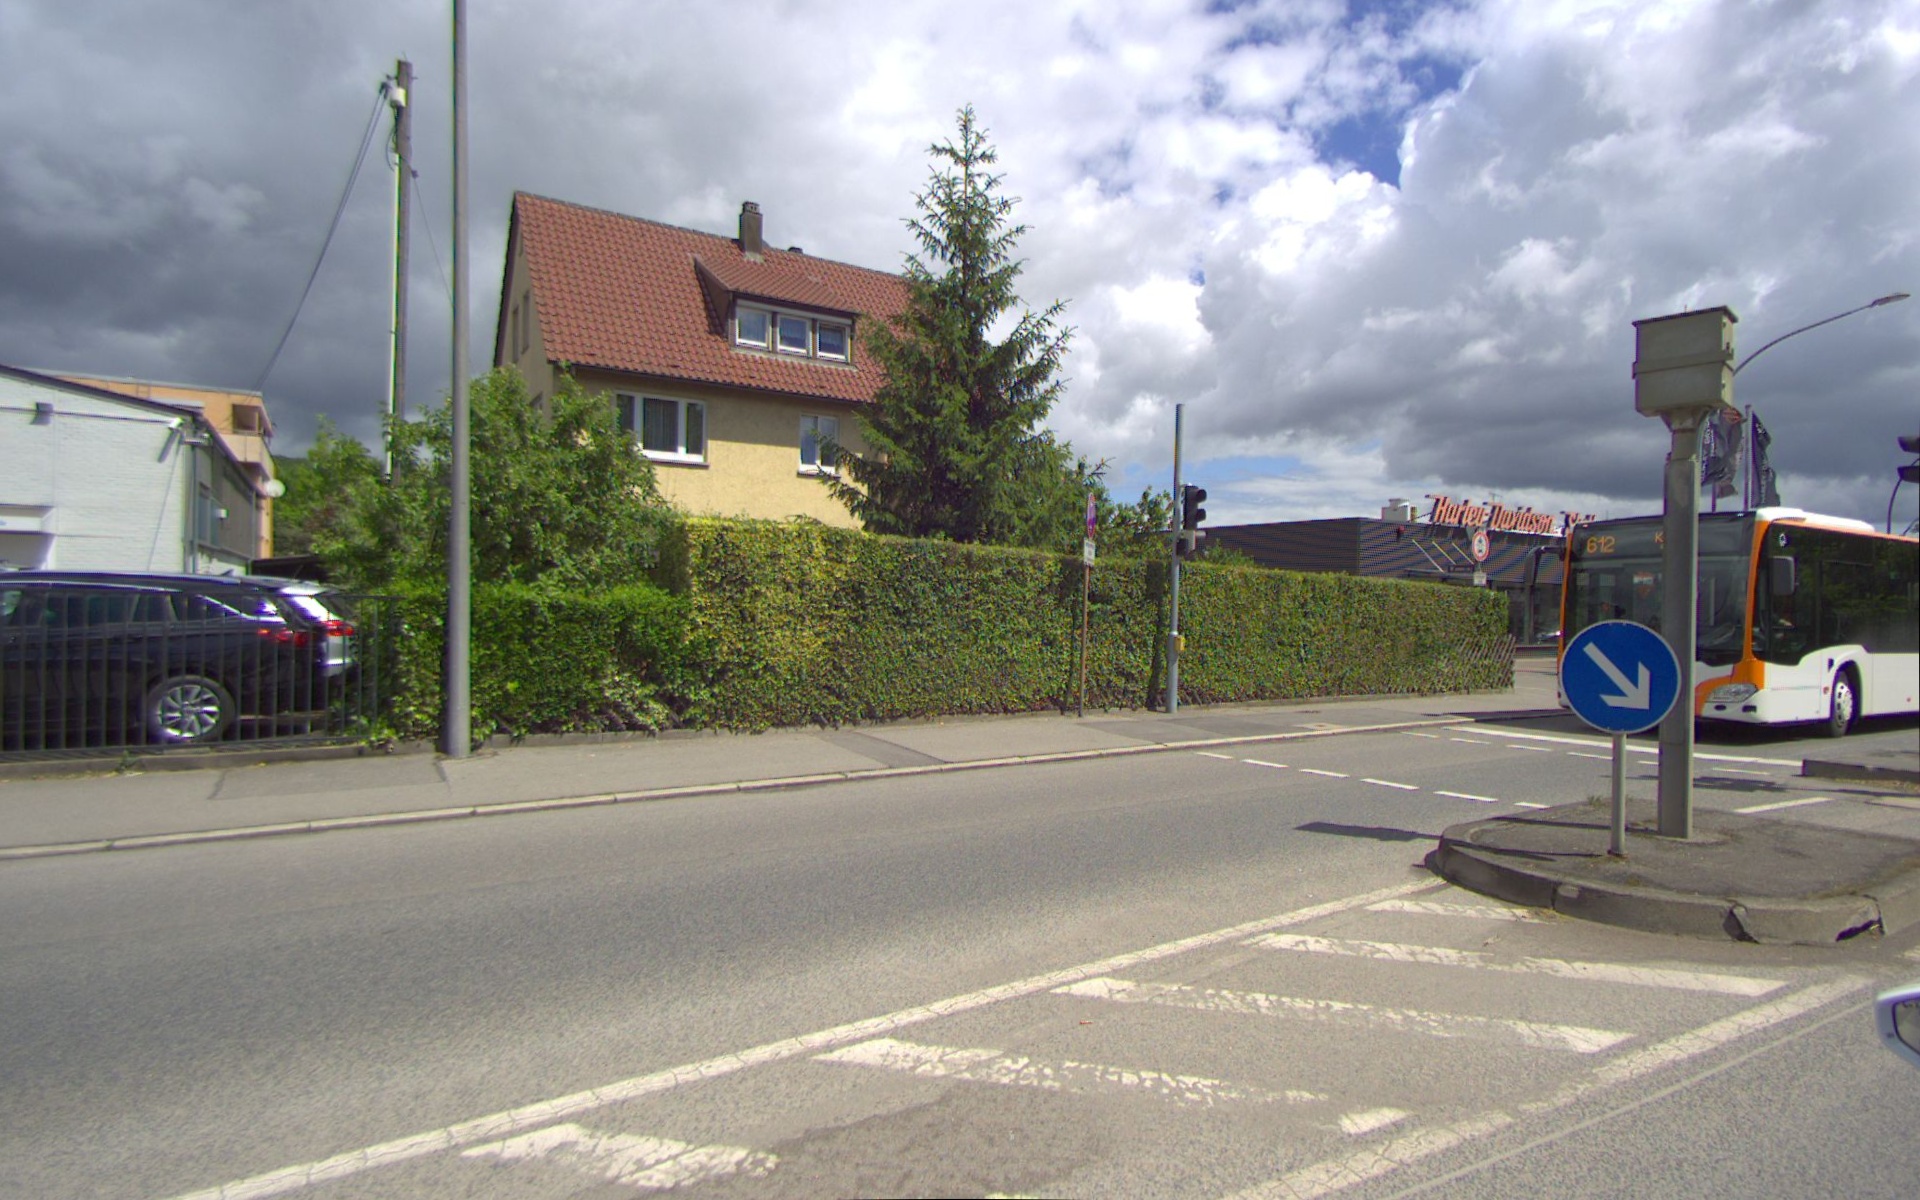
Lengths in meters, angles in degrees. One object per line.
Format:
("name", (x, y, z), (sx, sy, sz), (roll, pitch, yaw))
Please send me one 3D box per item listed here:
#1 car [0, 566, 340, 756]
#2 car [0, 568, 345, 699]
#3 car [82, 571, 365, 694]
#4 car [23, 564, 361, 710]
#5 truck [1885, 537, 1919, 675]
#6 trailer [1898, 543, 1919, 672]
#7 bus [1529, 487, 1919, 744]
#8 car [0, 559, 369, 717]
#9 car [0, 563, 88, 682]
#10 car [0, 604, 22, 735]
("car", (-7.856, 0.478, 8.855), (3.997, 1.502, 1.850), (2, 0, -31))
("car", (-10.724, 0.434, 13.631), (3.953, 1.569, 1.984), (2, 0, -30))
("car", (-13.323, 0.586, 18.527), (3.953, 2.040, 1.984), (2, 0, -30))
("car", (-11.827, 0.560, 15.884), (3.953, 2.040, 1.984), (2, 0, -30))
("truck", (31.598, 0.269, 31.619), (6.448, 4.107, 2.775), (2, 0, -40))
("trailer", (36.952, 0.453, 36.170), (15.429, 4.107, 2.775), (2, 0, -40))
("bus", (14.046, 0.365, 16.283), (12.123, 3.071, 2.706), (2, -1, -31))
("car", (-9.016, 0.395, 11.359), (3.953, 1.561, 1.984), (2, 0, -30))
("car", (-17.987, 0.345, 17.423), (3.953, 2.040, 1.984), (2, 0, -30))
("car", (-16.710, 1.039, 14.699), (3.953, 2.040, 1.984), (2, 0, -30))
